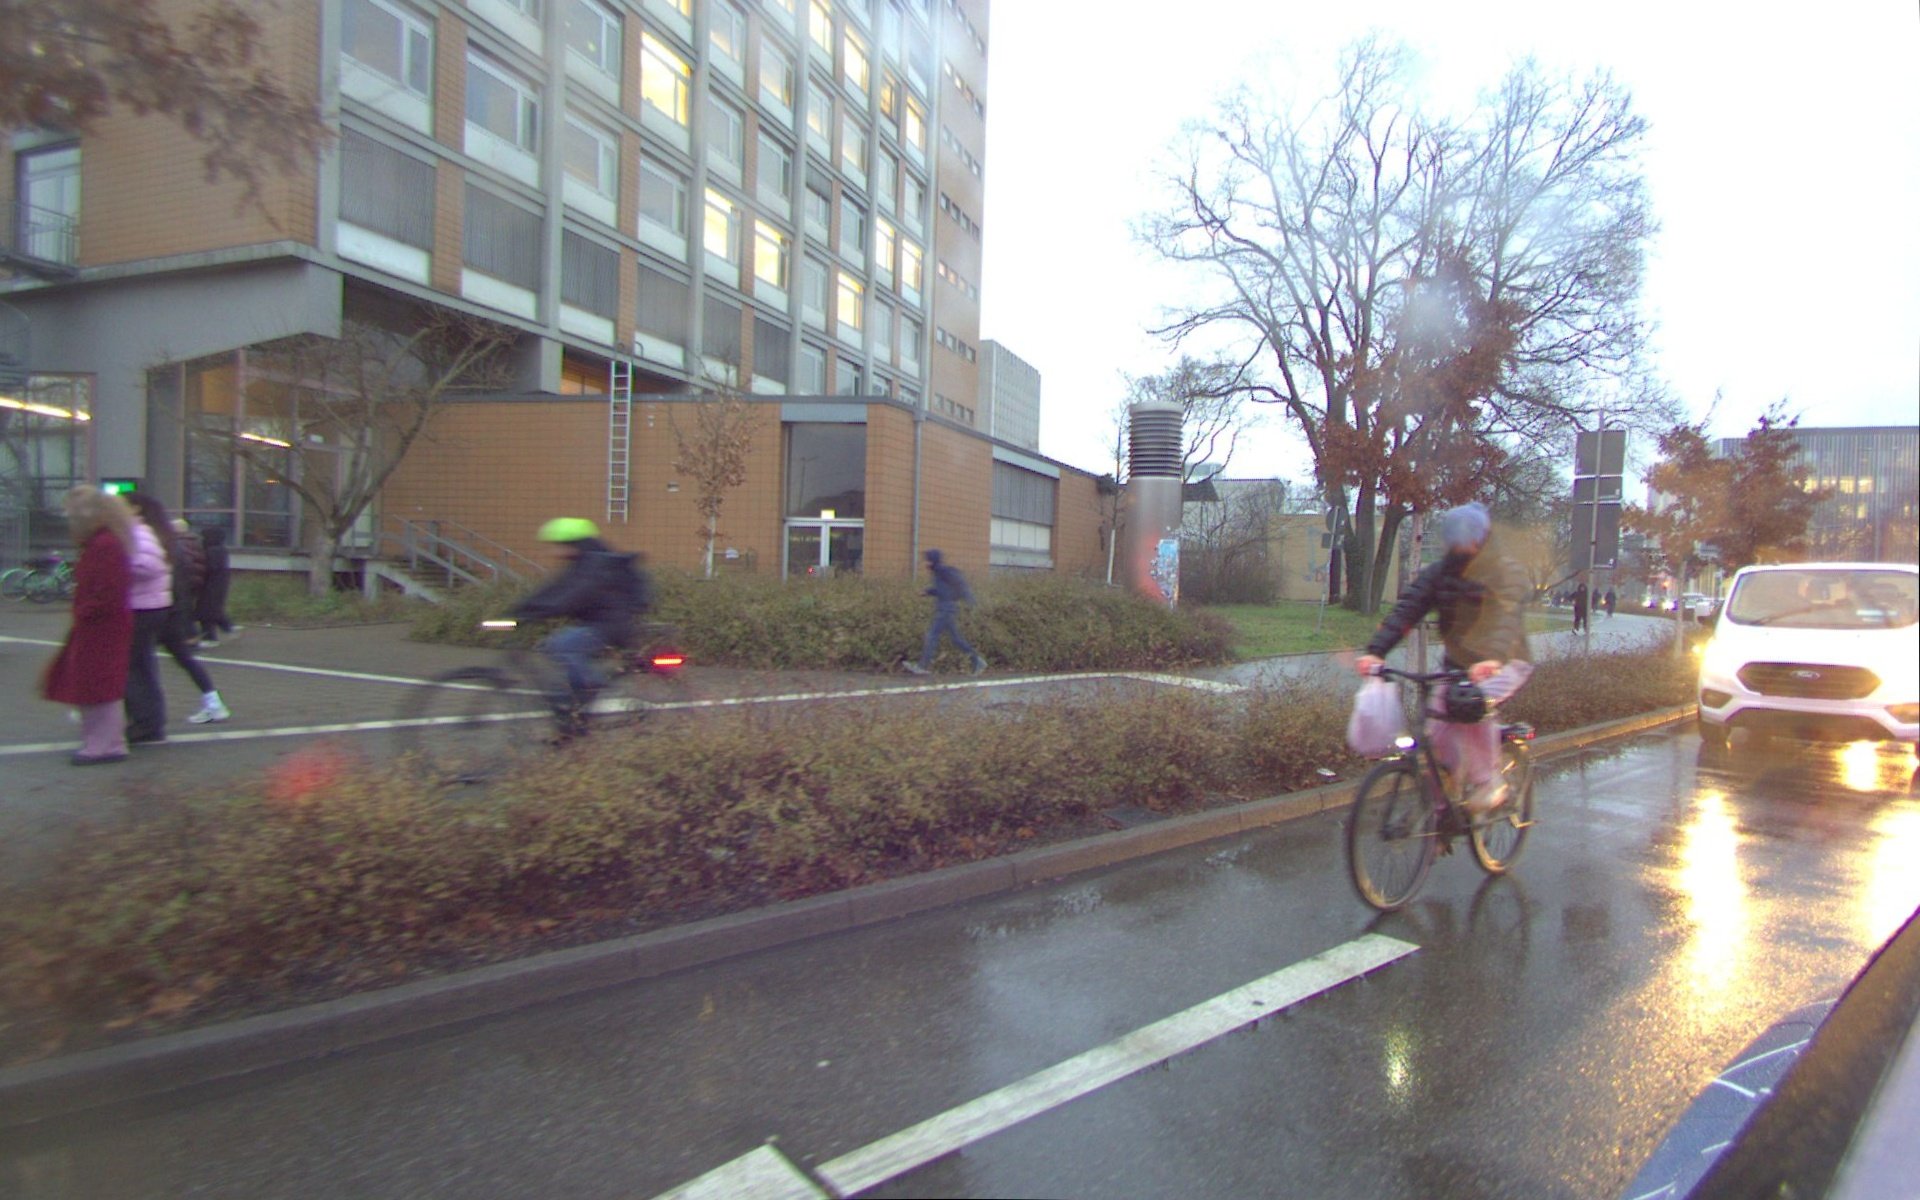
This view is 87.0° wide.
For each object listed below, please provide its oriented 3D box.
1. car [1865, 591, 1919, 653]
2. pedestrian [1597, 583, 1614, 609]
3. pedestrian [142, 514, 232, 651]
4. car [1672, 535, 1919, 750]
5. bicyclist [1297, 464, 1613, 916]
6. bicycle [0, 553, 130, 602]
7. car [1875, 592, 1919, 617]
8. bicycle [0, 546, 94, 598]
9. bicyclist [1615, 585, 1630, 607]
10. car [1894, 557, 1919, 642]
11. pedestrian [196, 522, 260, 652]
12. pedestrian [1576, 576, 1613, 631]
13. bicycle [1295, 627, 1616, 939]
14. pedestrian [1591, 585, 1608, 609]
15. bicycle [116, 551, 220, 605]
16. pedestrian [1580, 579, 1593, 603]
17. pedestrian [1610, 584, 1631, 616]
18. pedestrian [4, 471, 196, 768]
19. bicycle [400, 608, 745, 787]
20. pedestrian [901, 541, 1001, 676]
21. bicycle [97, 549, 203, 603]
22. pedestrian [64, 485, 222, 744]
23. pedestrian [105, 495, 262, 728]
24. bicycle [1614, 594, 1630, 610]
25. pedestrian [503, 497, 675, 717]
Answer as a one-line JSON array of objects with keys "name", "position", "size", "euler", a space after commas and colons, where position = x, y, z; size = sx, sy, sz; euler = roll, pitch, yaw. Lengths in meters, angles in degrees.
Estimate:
[{"name": "car", "position": [25.535, 0.633, 26.691], "size": [4.237, 1.523, 1.754], "euler": [3, -1, -38]}, {"name": "pedestrian", "position": [47.825, -0.316, 74.980], "size": [0.924, 1.848, 0.827], "euler": [3, 2, 26]}, {"name": "pedestrian", "position": [-10.675, -0.253, 13.980], "size": [0.847, 1.813, 0.741], "euler": [2, 1, 32]}, {"name": "car", "position": [9.926, 0.451, 11.482], "size": [4.933, 1.945, 2.133], "euler": [3, -1, -45]}, {"name": "bicyclist", "position": [2.477, 0.373, 5.062], "size": [1.214, 1.907, 1.026], "euler": [0, 0, -41]}, {"name": "bicycle", "position": [-19.425, -0.490, 22.004], "size": [0.700, 1.003, 2.044], "euler": [2, 2, 24]}, {"name": "car", "position": [57.583, 0.286, 61.366], "size": [1.913, 1.393, 4.459], "euler": [3, 2, 26]}, {"name": "bicycle", "position": [-20.368, -0.630, 22.539], "size": [0.384, 1.115, 1.790], "euler": [2, 2, 11]}, {"name": "bicyclist", "position": [52.233, -0.325, 79.765], "size": [0.800, 1.637, 1.074], "euler": [5, 3, 30]}, {"name": "car", "position": [31.635, 0.122, 31.383], "size": [5.750, 2.550, 2.350], "euler": [3, -1, -30]}, {"name": "pedestrian", "position": [-10.470, -0.194, 14.478], "size": [0.579, 1.813, 0.554], "euler": [2, 1, 32]}, {"name": "pedestrian", "position": [20.527, 0.107, 32.774], "size": [0.906, 1.708, 0.917], "euler": [4, 1, 32]}, {"name": "bicycle", "position": [2.560, 0.785, 5.128], "size": [1.871, 1.238, 0.793], "euler": [0, 0, -41]}, {"name": "pedestrian", "position": [49.813, -0.243, 78.850], "size": [0.924, 1.848, 0.827], "euler": [3, 2, 26]}, {"name": "bicycle", "position": [-16.880, -0.471, 21.615], "size": [0.397, 1.115, 1.781], "euler": [2, 2, 24]}, {"name": "pedestrian", "position": [54.068, -0.769, 87.291], "size": [0.758, 2.038, 0.903], "euler": [2, 2, 25]}, {"name": "pedestrian", "position": [40.261, -0.010, 61.699], "size": [0.924, 1.848, 0.827], "euler": [3, 2, 26]}, {"name": "pedestrian", "position": [-5.484, 0.111, 6.501], "size": [0.753, 1.803, 0.587], "euler": [1, 3, -16]}, {"name": "bicycle", "position": [-2.487, 0.571, 6.676], "size": [2.058, 0.958, 0.563], "euler": [-1, 3, -39]}, {"name": "pedestrian", "position": [-0.133, 0.100, 13.451], "size": [1.048, 1.708, 0.812], "euler": [2, 3, -20]}, {"name": "bicycle", "position": [-17.465, -0.513, 21.867], "size": [0.437, 1.115, 1.781], "euler": [2, 2, 24]}, {"name": "pedestrian", "position": [-5.700, 0.091, 7.097], "size": [0.599, 1.708, 0.671], "euler": [3, 2, -16]}, {"name": "pedestrian", "position": [-6.007, 0.079, 7.868], "size": [0.744, 1.708, 0.722], "euler": [1, 1, -16]}, {"name": "bicycle", "position": [52.186, 0.161, 79.767], "size": [0.800, 1.155, 2.191], "euler": [6, 4, 29]}, {"name": "pedestrian", "position": [-2.477, 0.023, 6.726], "size": [0.833, 1.333, 0.877], "euler": [0, 2, -38]}]
